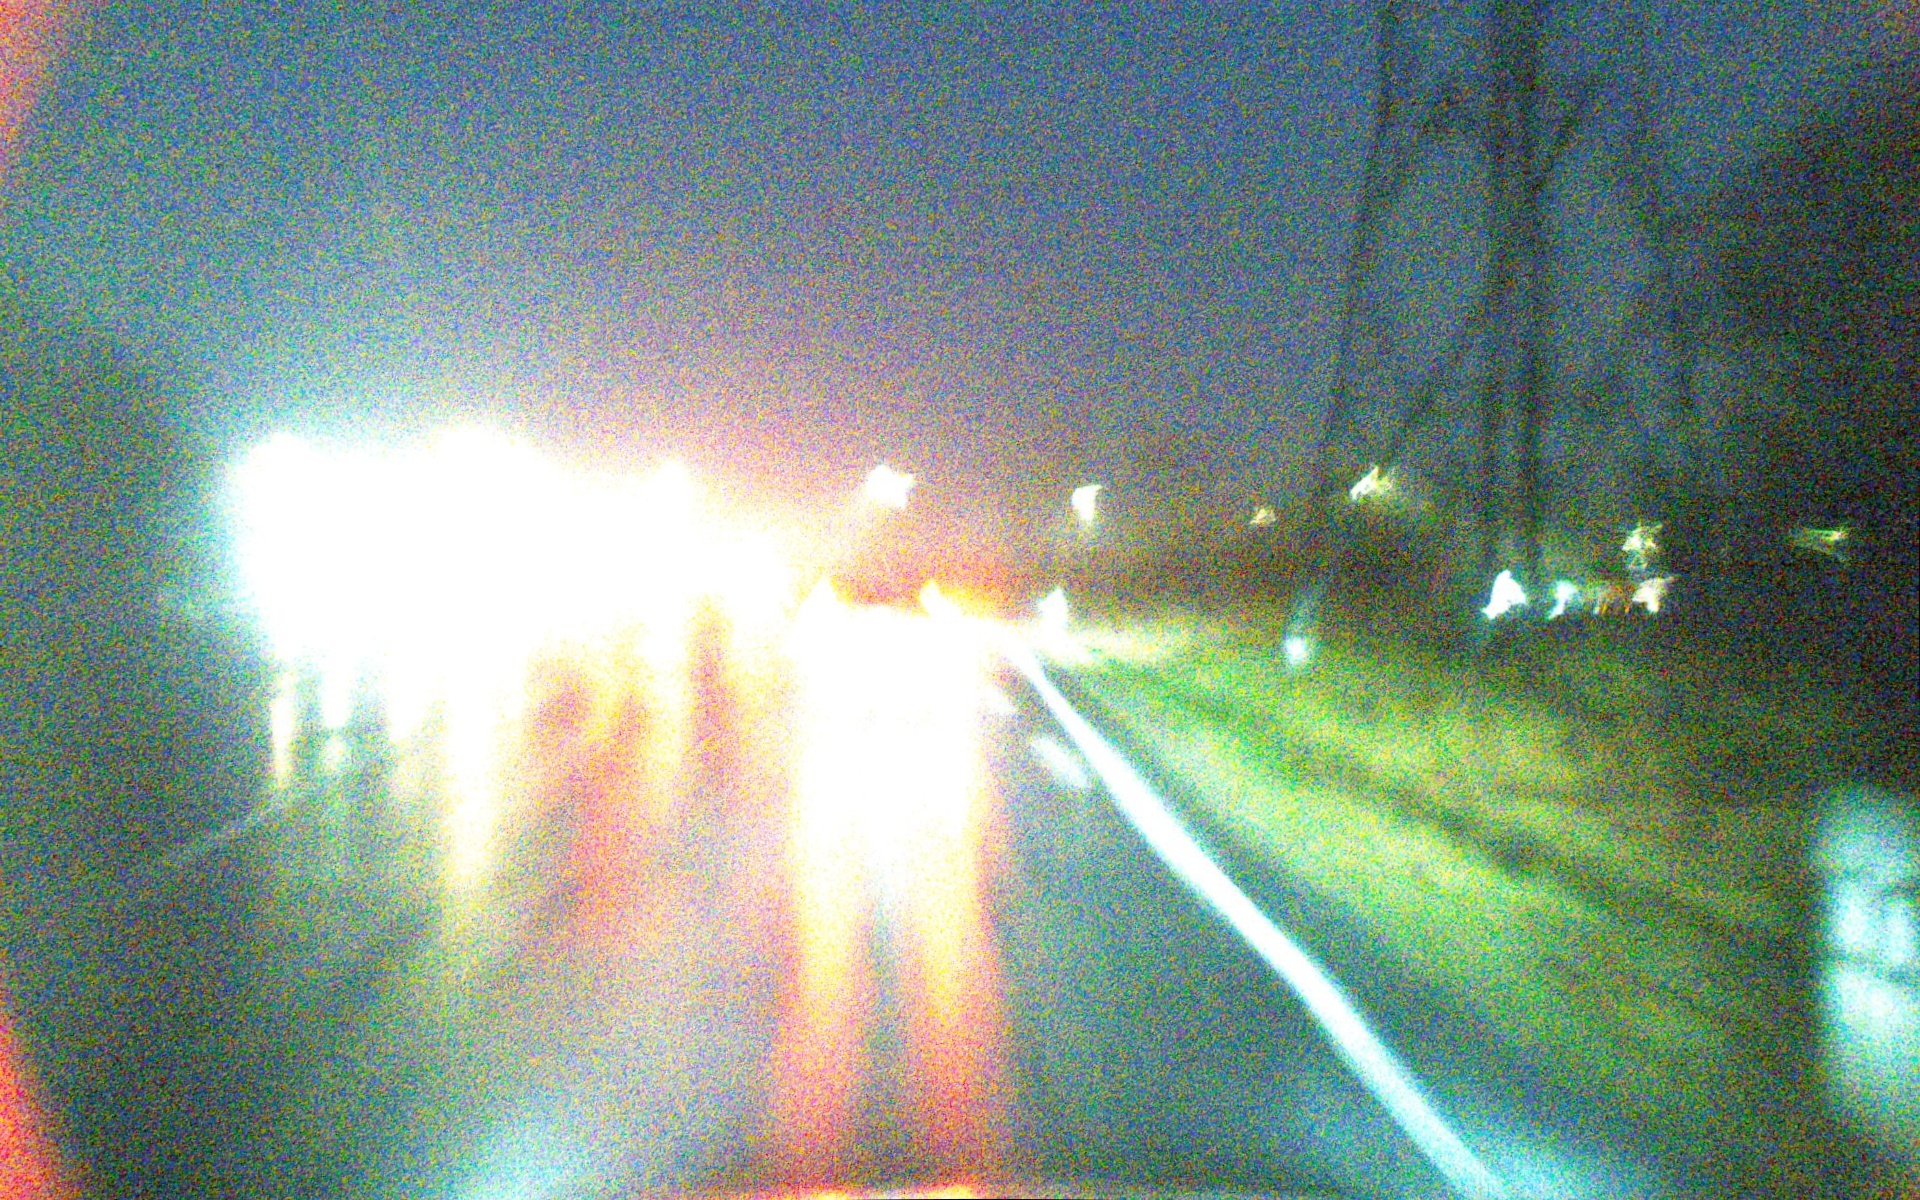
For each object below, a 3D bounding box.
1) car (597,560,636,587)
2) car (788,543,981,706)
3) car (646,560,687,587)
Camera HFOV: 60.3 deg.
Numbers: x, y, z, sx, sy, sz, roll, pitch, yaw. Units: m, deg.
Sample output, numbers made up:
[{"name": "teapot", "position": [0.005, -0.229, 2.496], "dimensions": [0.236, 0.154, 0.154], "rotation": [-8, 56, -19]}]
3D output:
[{"name": "car", "position": [-22.764, -1.797, 109.607], "dimensions": [1.963, 1.656, 4.960], "rotation": [-2, 2, -18]}, {"name": "car", "position": [-0.856, 0.252, 19.430], "dimensions": [1.953, 1.656, 4.982], "rotation": [1, 0, -2]}, {"name": "car", "position": [-19.519, -1.783, 109.866], "dimensions": [1.963, 1.656, 4.960], "rotation": [-2, 2, -18]}]
